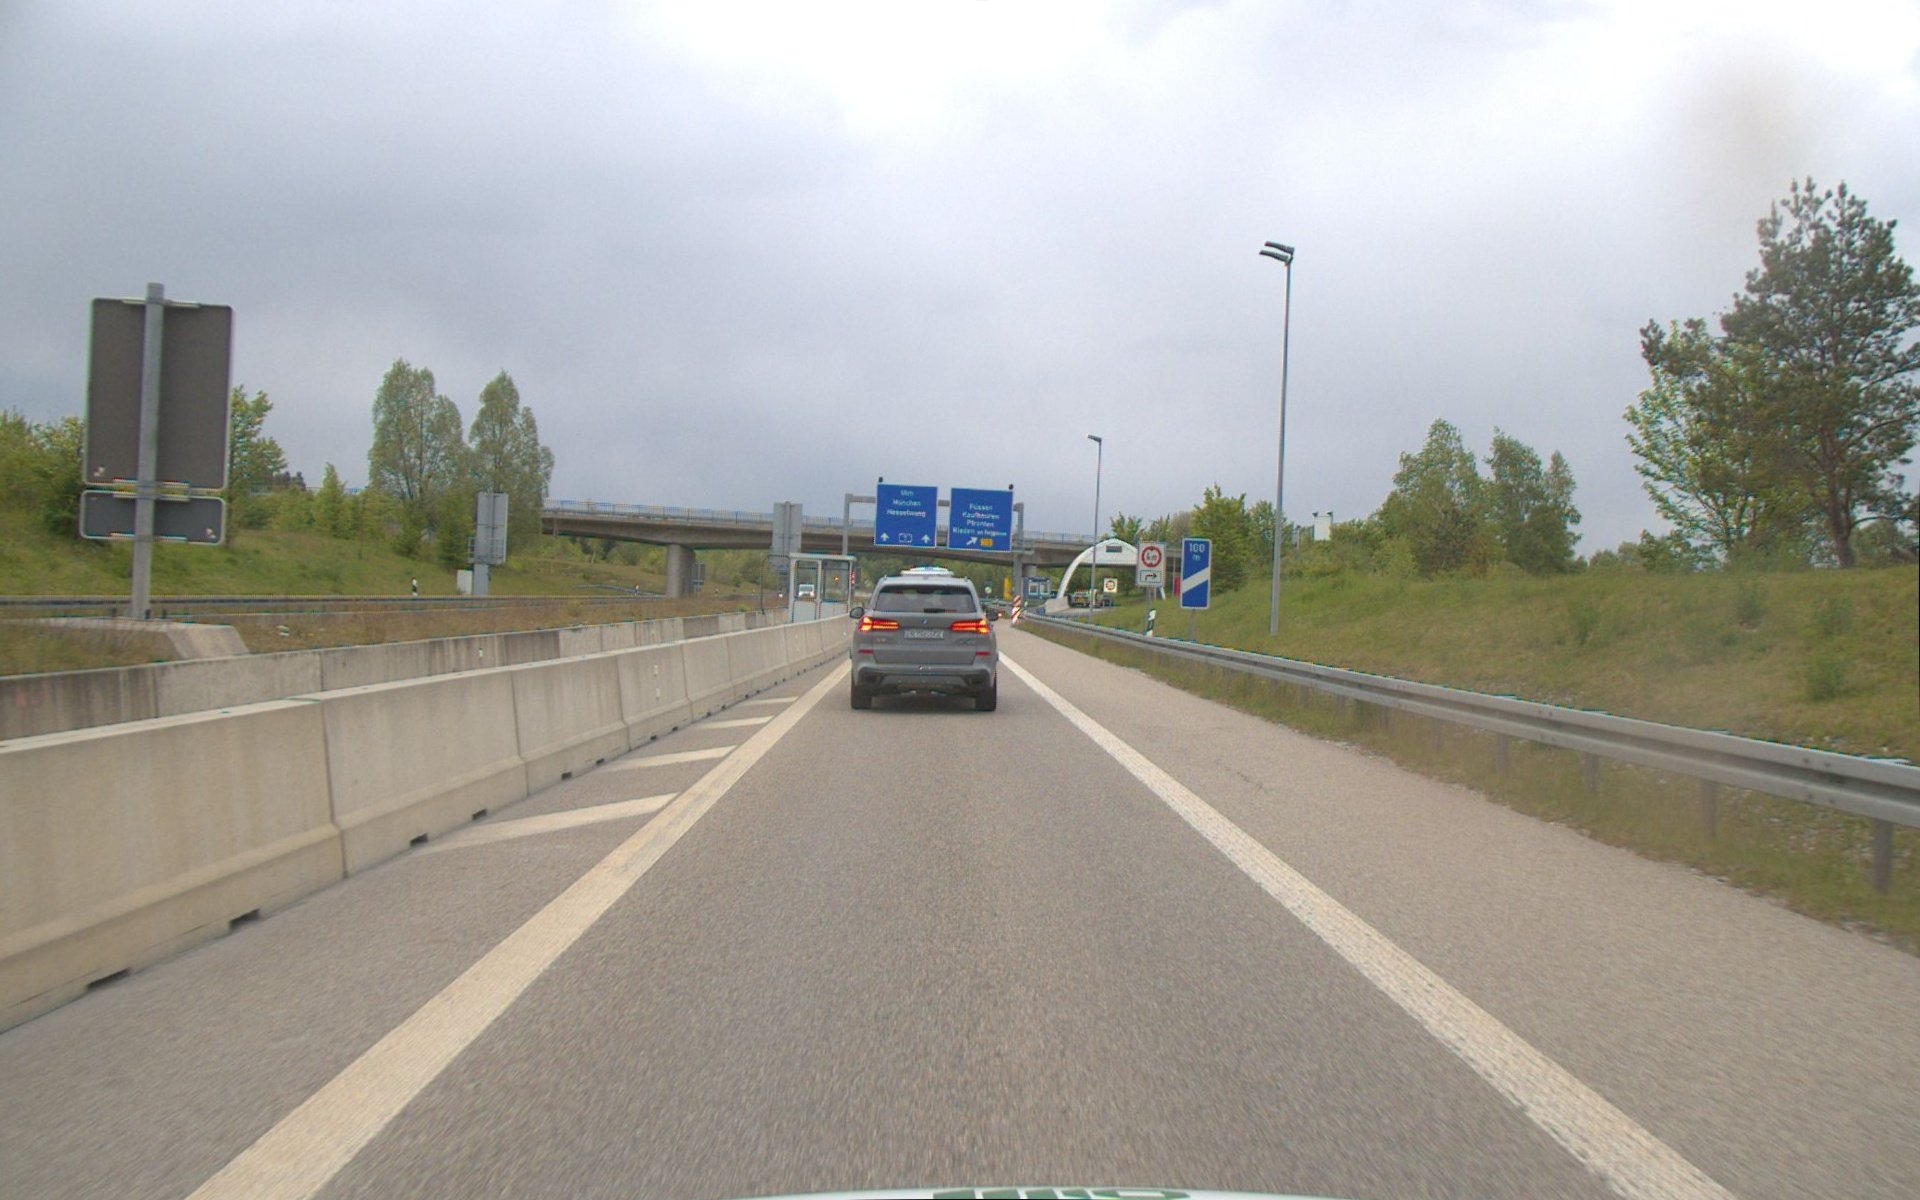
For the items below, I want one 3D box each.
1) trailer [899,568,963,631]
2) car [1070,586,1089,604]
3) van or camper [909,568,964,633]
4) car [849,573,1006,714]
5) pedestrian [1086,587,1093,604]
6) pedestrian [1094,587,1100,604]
[{"bbox_3d":[-1.130,0.004,69.059,2.231,2.473,6.819,1,0,2],"label":"trailer"},{"bbox_3d":[12.554,-0.506,173.740,1.952,1.803,3.767,1,0,3],"label":"car"},{"bbox_3d":[-1.013,0.040,75.414,2.112,2.812,5.873,1,0,2],"label":"van or camper"},{"bbox_3d":[-0.445,0.546,22.883,1.953,1.749,3.999,1,0,-1],"label":"car"},{"bbox_3d":[13.758,-0.494,175.971,0.705,1.806,0.690,0,0,3],"label":"pedestrian"},{"bbox_3d":[14.653,-0.444,177.008,0.634,1.806,0.606,0,0,1],"label":"pedestrian"}]
